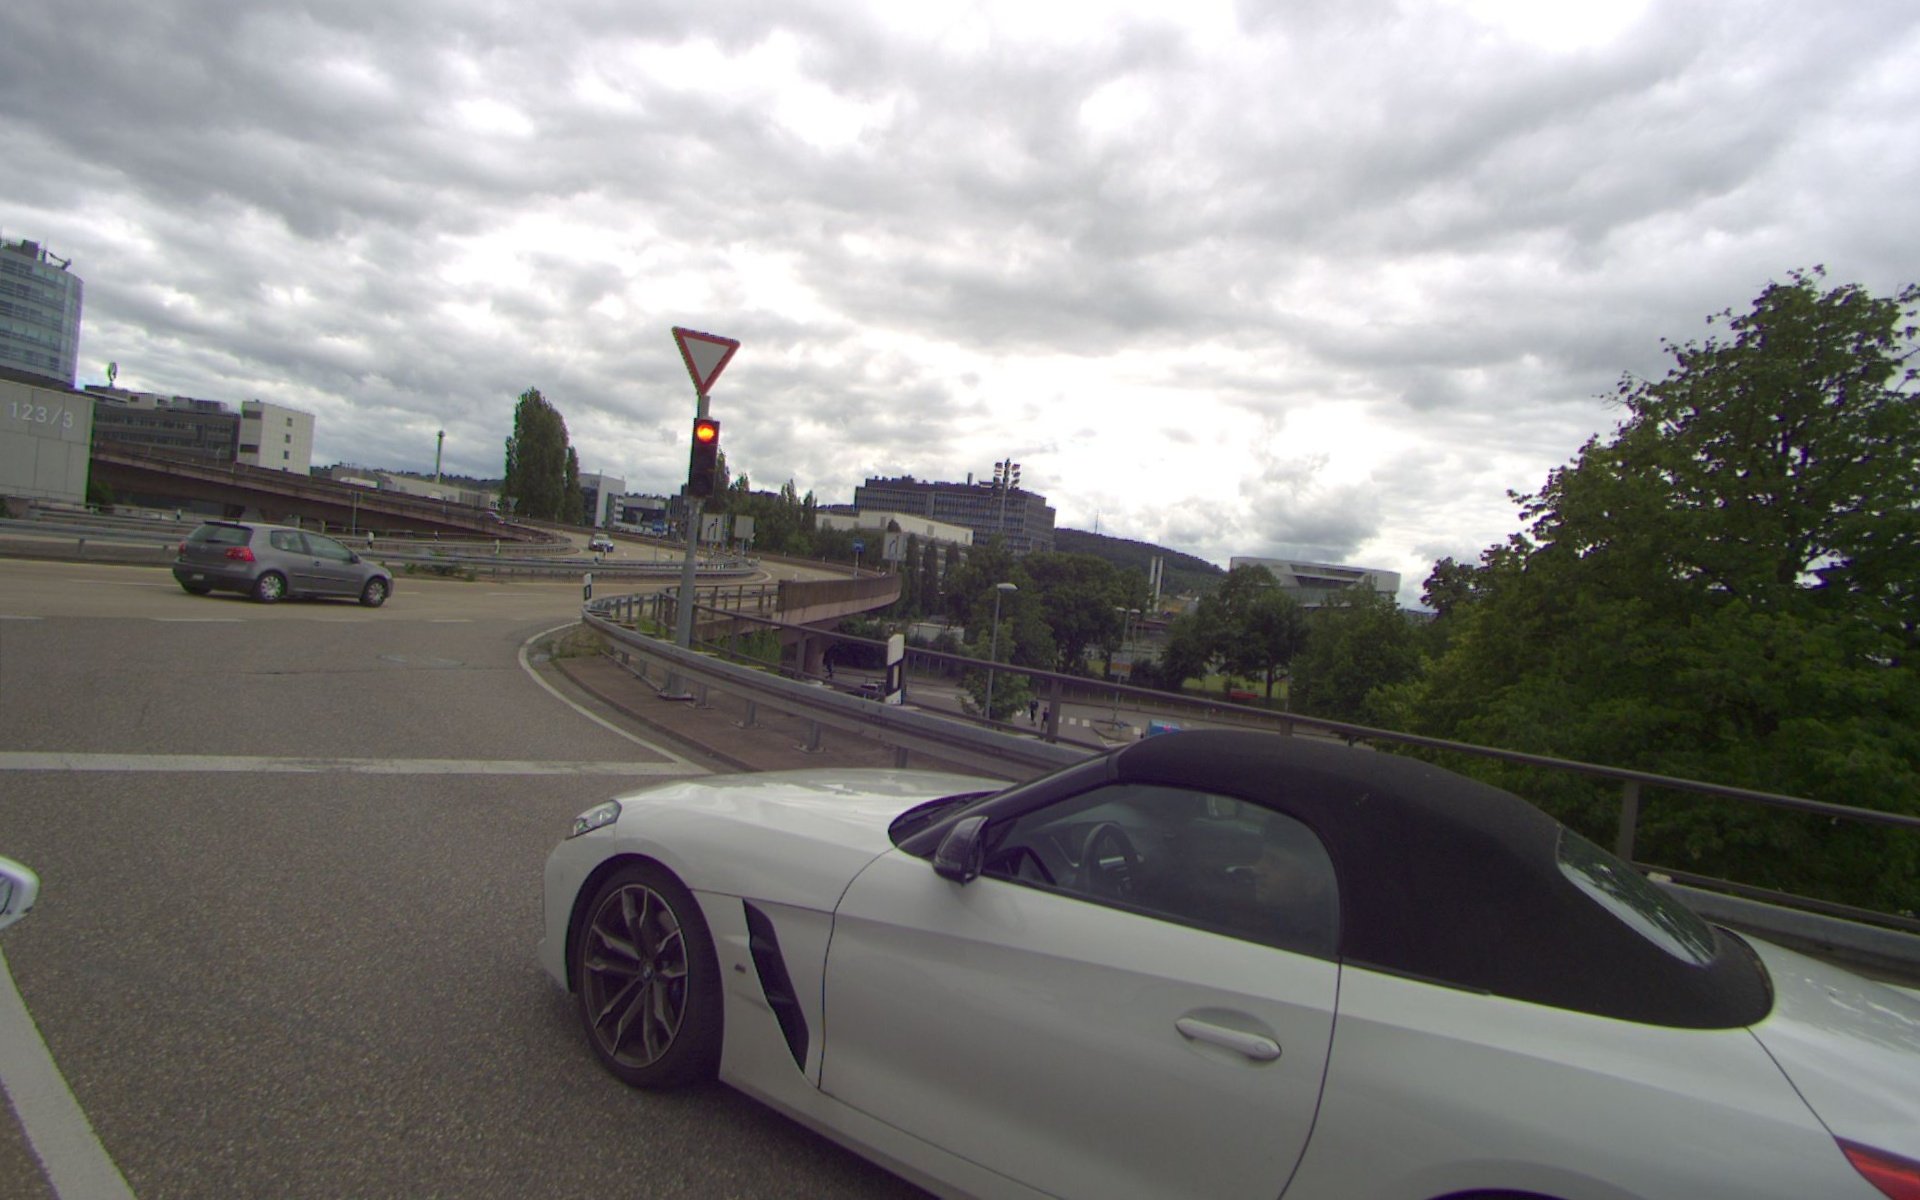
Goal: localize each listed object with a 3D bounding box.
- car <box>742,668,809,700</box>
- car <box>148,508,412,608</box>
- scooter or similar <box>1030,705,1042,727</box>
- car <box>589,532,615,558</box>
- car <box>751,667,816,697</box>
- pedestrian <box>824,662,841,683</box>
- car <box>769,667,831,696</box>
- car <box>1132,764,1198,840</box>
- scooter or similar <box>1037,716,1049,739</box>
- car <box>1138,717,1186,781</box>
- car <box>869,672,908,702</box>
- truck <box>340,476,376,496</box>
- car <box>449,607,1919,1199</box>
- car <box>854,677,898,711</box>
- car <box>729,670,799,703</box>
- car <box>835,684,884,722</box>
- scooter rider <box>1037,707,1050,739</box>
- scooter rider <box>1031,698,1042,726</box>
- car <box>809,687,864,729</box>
[{"bbox_3d":[-11.780,5.378,64.457,3.792,1.371,1.826,8,1,1],"label":"car"},{"bbox_3d":[-13.224,-0.739,19.928,1.697,1.479,4.246,7,0,11],"label":"car"},{"bbox_3d":[4.979,7.620,66.115,0.482,1.199,1.072,8,1,-2],"label":"scooter or similar"},{"bbox_3d":[-32.397,-4.923,91.061,1.889,1.679,4.733,10,-4,-18],"label":"car"},{"bbox_3d":[-11.644,5.417,66.574,3.792,1.371,1.826,8,1,1],"label":"car"},{"bbox_3d":[-9.876,5.609,77.966,0.898,1.514,0.750,9,-3,7],"label":"pedestrian"},{"bbox_3d":[-11.028,5.598,69.351,3.792,1.371,1.826,8,1,1],"label":"car"},{"bbox_3d":[7.770,7.501,37.763,1.978,1.883,4.868,10,-2,14],"label":"car"},{"bbox_3d":[4.955,7.642,60.238,0.481,1.199,1.073,8,1,10],"label":"scooter or similar"},{"bbox_3d":[10.750,7.874,53.717,1.978,2.617,5.399,10,-2,11],"label":"car"},{"bbox_3d":[-4.832,5.918,68.796,1.792,1.553,4.000,8,0,6],"label":"car"},{"bbox_3d":[-100.297,-18.932,167.598,1.968,2.194,4.599,7,-4,34],"label":"truck"},{"bbox_3d":[0.498,0.977,3.115,4.195,1.306,1.808,7,-2,34],"label":"car"},{"bbox_3d":[-5.185,5.809,62.662,1.792,1.553,4.196,8,0,6],"label":"car"},{"bbox_3d":[-12.076,5.307,62.119,3.792,1.371,1.826,8,1,1],"label":"car"},{"bbox_3d":[-5.664,5.786,57.122,1.792,1.553,4.000,8,0,6],"label":"car"},{"bbox_3d":[5.003,7.358,60.208,0.481,1.776,0.548,8,2,10],"label":"scooter rider"},{"bbox_3d":[5.021,7.344,66.103,0.482,1.761,0.513,8,2,-3],"label":"scooter rider"},{"bbox_3d":[-6.398,5.583,52.372,1.792,1.553,4.000,8,0,6],"label":"car"}]
